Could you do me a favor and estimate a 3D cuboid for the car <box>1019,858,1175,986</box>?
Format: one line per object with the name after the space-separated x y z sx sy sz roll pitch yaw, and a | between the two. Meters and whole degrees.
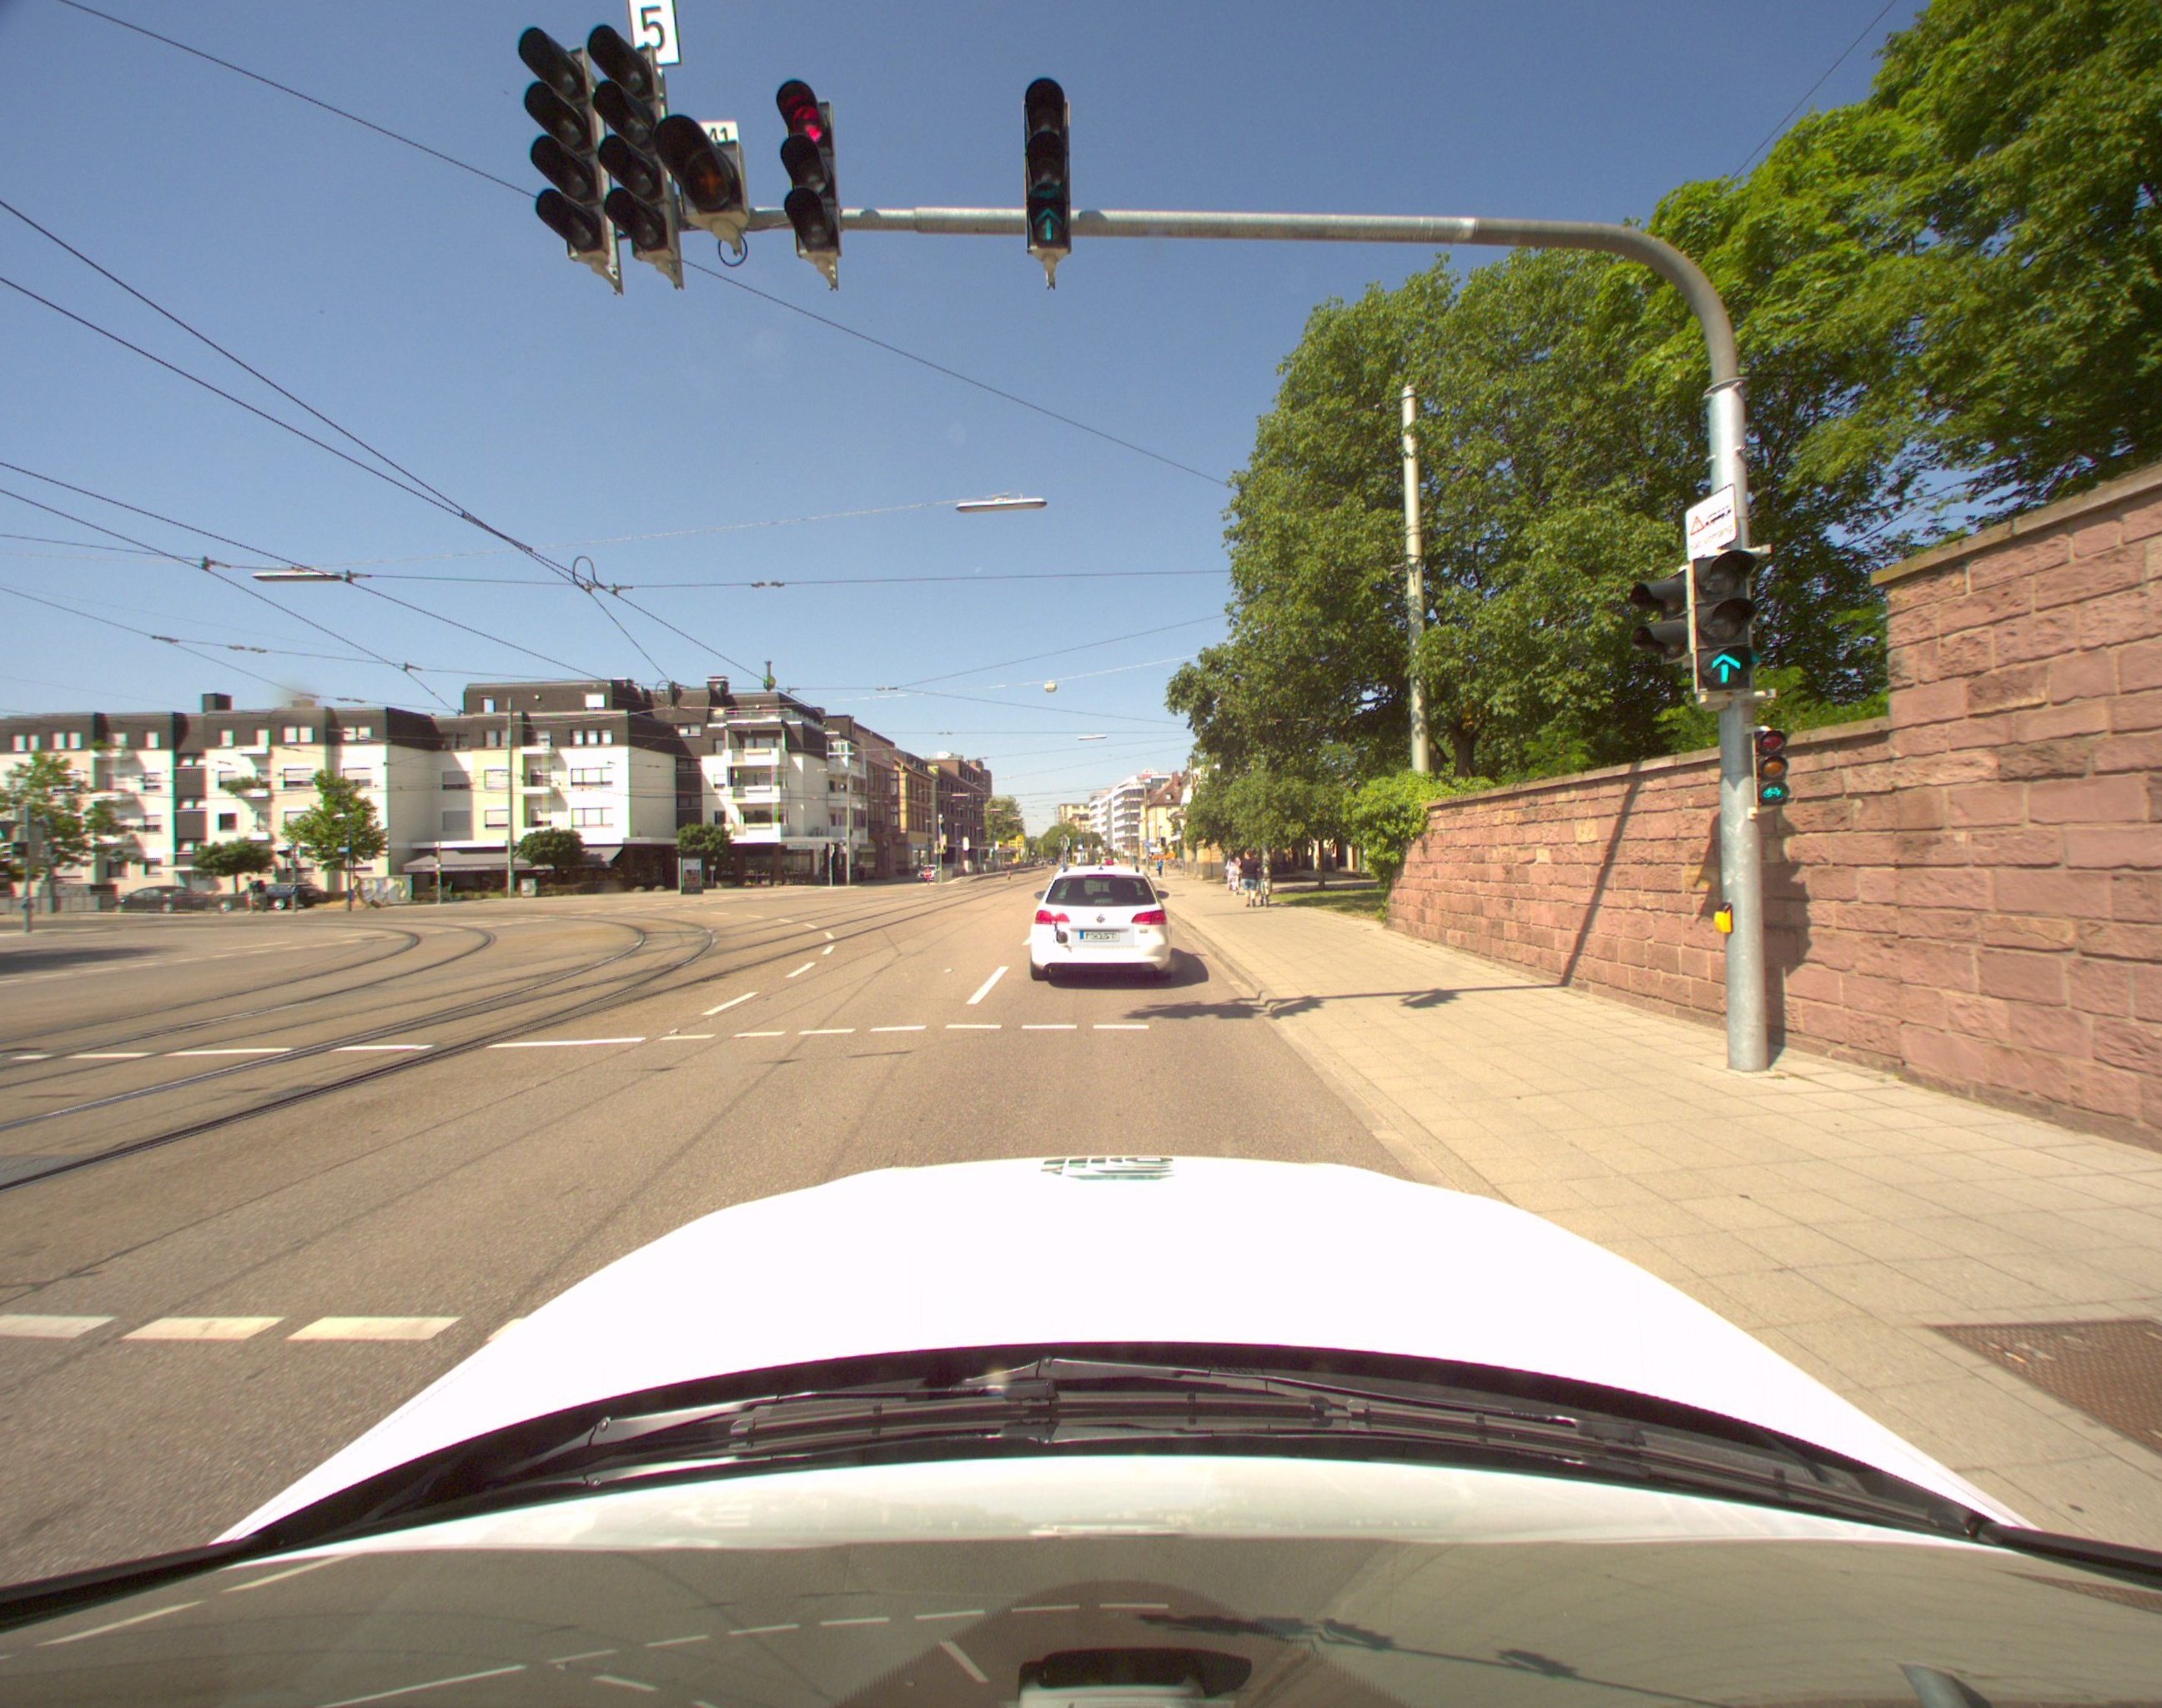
0.267 0.786 11.235 1.746 1.418 3.855 -2 0 2 | car

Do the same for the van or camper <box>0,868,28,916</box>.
-62.475 2.190 45.237 4.858 2.624 2.376 -2 0 1 | van or camper

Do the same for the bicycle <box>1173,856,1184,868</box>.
9.664 0.779 80.681 0.720 1.139 2.203 -2 0 15 | bicycle

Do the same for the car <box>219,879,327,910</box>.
-44.742 2.209 45.145 4.157 1.500 1.829 -2 0 1 | car

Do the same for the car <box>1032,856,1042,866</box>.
-9.088 1.462 168.812 1.988 2.014 3.997 -3 -1 -2 | car

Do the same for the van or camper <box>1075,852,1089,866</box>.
0.267 1.219 189.519 2.934 3.180 6.613 -2 0 1 | van or camper

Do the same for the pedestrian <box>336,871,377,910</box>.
-35.884 1.794 40.343 1.446 1.836 1.109 -1 -1 -40 | pedestrian

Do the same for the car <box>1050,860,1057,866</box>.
-7.063 2.181 209.041 1.661 1.466 3.775 -2 0 2 | car

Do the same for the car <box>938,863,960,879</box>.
-12.838 1.616 79.396 1.568 1.459 3.812 -2 0 -1 | car

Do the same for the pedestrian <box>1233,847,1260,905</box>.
4.572 0.592 22.557 0.538 1.549 0.663 -4 -1 1 | pedestrian

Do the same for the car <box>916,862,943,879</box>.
-13.258 1.440 71.425 1.620 1.431 3.963 0 -1 0 | car

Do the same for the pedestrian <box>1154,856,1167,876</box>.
6.152 0.910 63.014 0.849 1.510 0.785 -2 -1 18 | pedestrian

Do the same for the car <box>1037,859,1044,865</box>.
-10.427 2.148 209.514 1.661 1.466 3.775 -2 0 2 | car

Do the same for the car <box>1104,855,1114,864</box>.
6.255 1.157 183.144 1.989 2.013 3.996 -2 0 -2 | car

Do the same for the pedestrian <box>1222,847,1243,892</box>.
5.784 0.589 31.137 0.647 1.682 0.708 -2 -1 5 | pedestrian

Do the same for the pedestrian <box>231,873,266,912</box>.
-38.546 1.772 37.717 0.806 1.760 0.763 -2 -1 -1 | pedestrian

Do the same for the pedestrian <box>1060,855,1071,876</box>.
-1.371 0.996 70.979 0.823 1.809 0.834 -2 -1 2 | pedestrian

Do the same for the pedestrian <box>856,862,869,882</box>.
-18.207 1.473 67.868 0.870 1.647 0.685 -2 -1 42 | pedestrian

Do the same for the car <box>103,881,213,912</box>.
-51.009 2.345 45.052 3.973 1.500 1.829 -2 0 1 | car

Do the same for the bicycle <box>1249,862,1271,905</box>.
4.909 0.788 22.394 0.532 1.111 1.812 -3 -1 12 | bicycle
